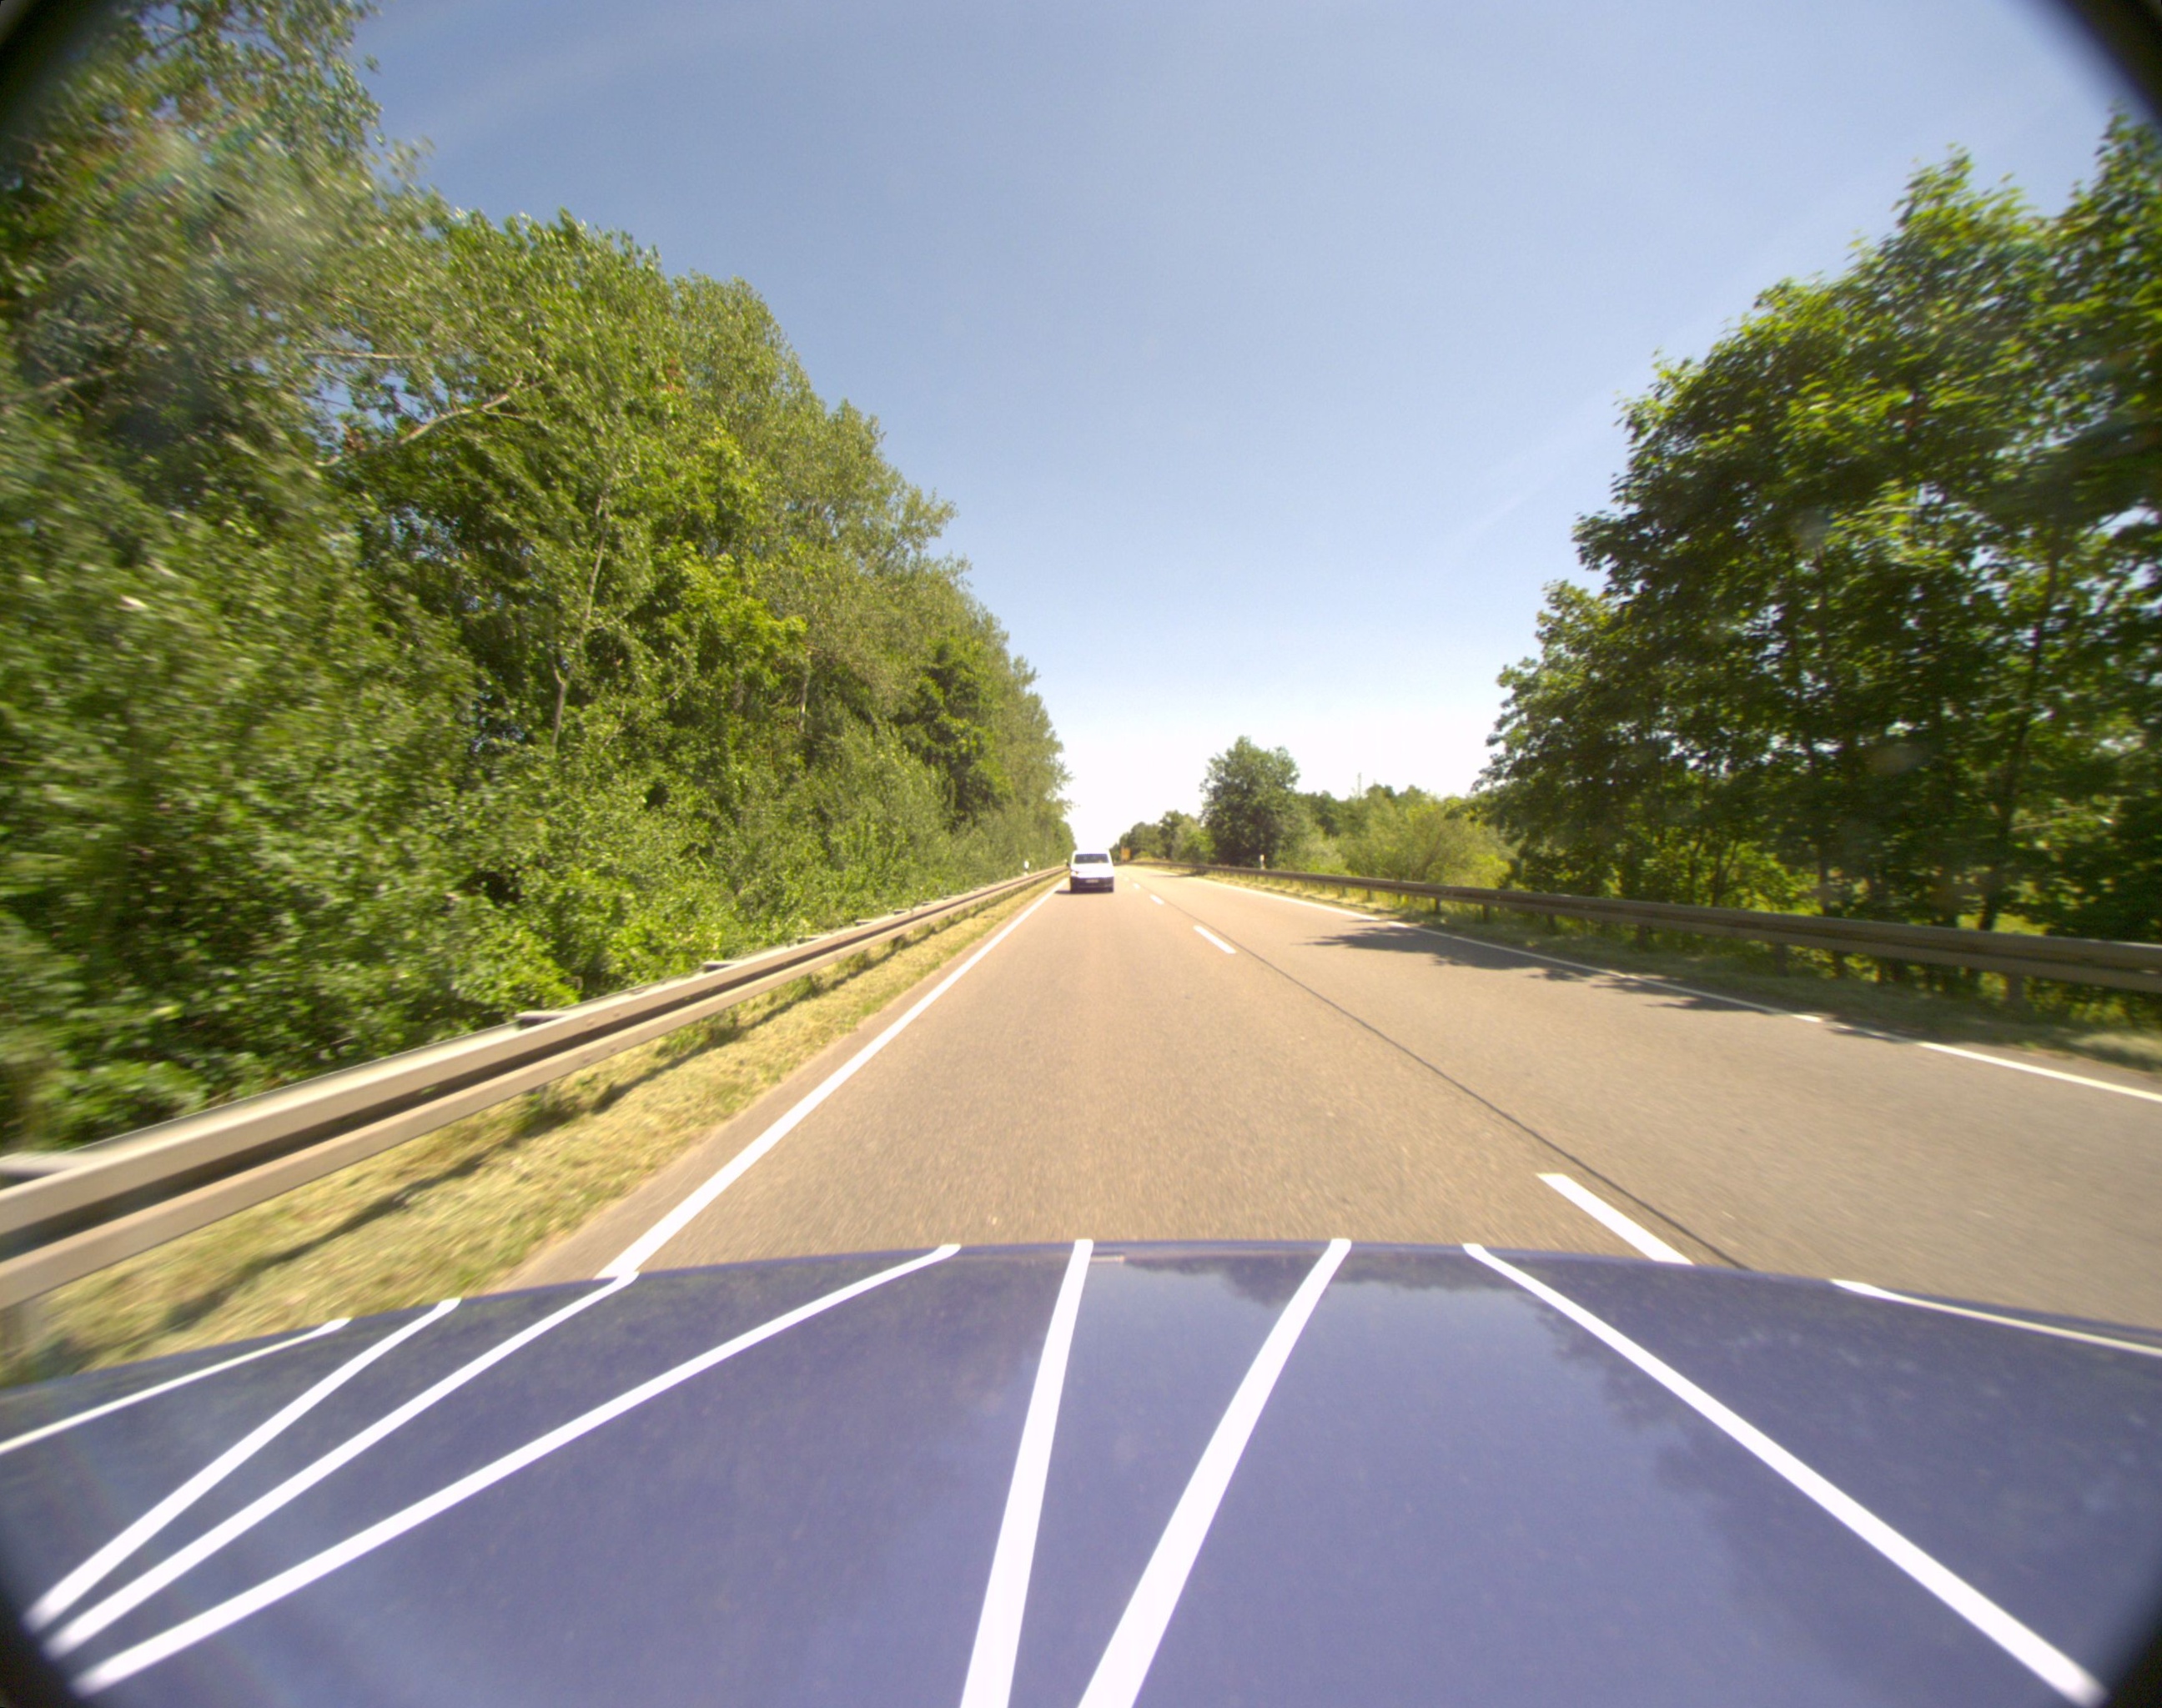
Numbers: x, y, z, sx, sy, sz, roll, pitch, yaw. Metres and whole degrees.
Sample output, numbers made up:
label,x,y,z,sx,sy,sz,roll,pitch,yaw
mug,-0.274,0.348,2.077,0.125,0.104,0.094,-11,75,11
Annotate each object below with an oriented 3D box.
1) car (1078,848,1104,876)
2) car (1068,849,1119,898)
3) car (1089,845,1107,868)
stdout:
label,x,y,z,sx,sy,sz,roll,pitch,yaw
car,0.743,0.561,55.868,1.782,1.960,4.106,-2,0,1
car,0.512,0.718,30.019,1.782,1.743,4.513,-2,0,1
car,1.780,0.270,78.944,1.782,2.287,4.106,-2,0,1
